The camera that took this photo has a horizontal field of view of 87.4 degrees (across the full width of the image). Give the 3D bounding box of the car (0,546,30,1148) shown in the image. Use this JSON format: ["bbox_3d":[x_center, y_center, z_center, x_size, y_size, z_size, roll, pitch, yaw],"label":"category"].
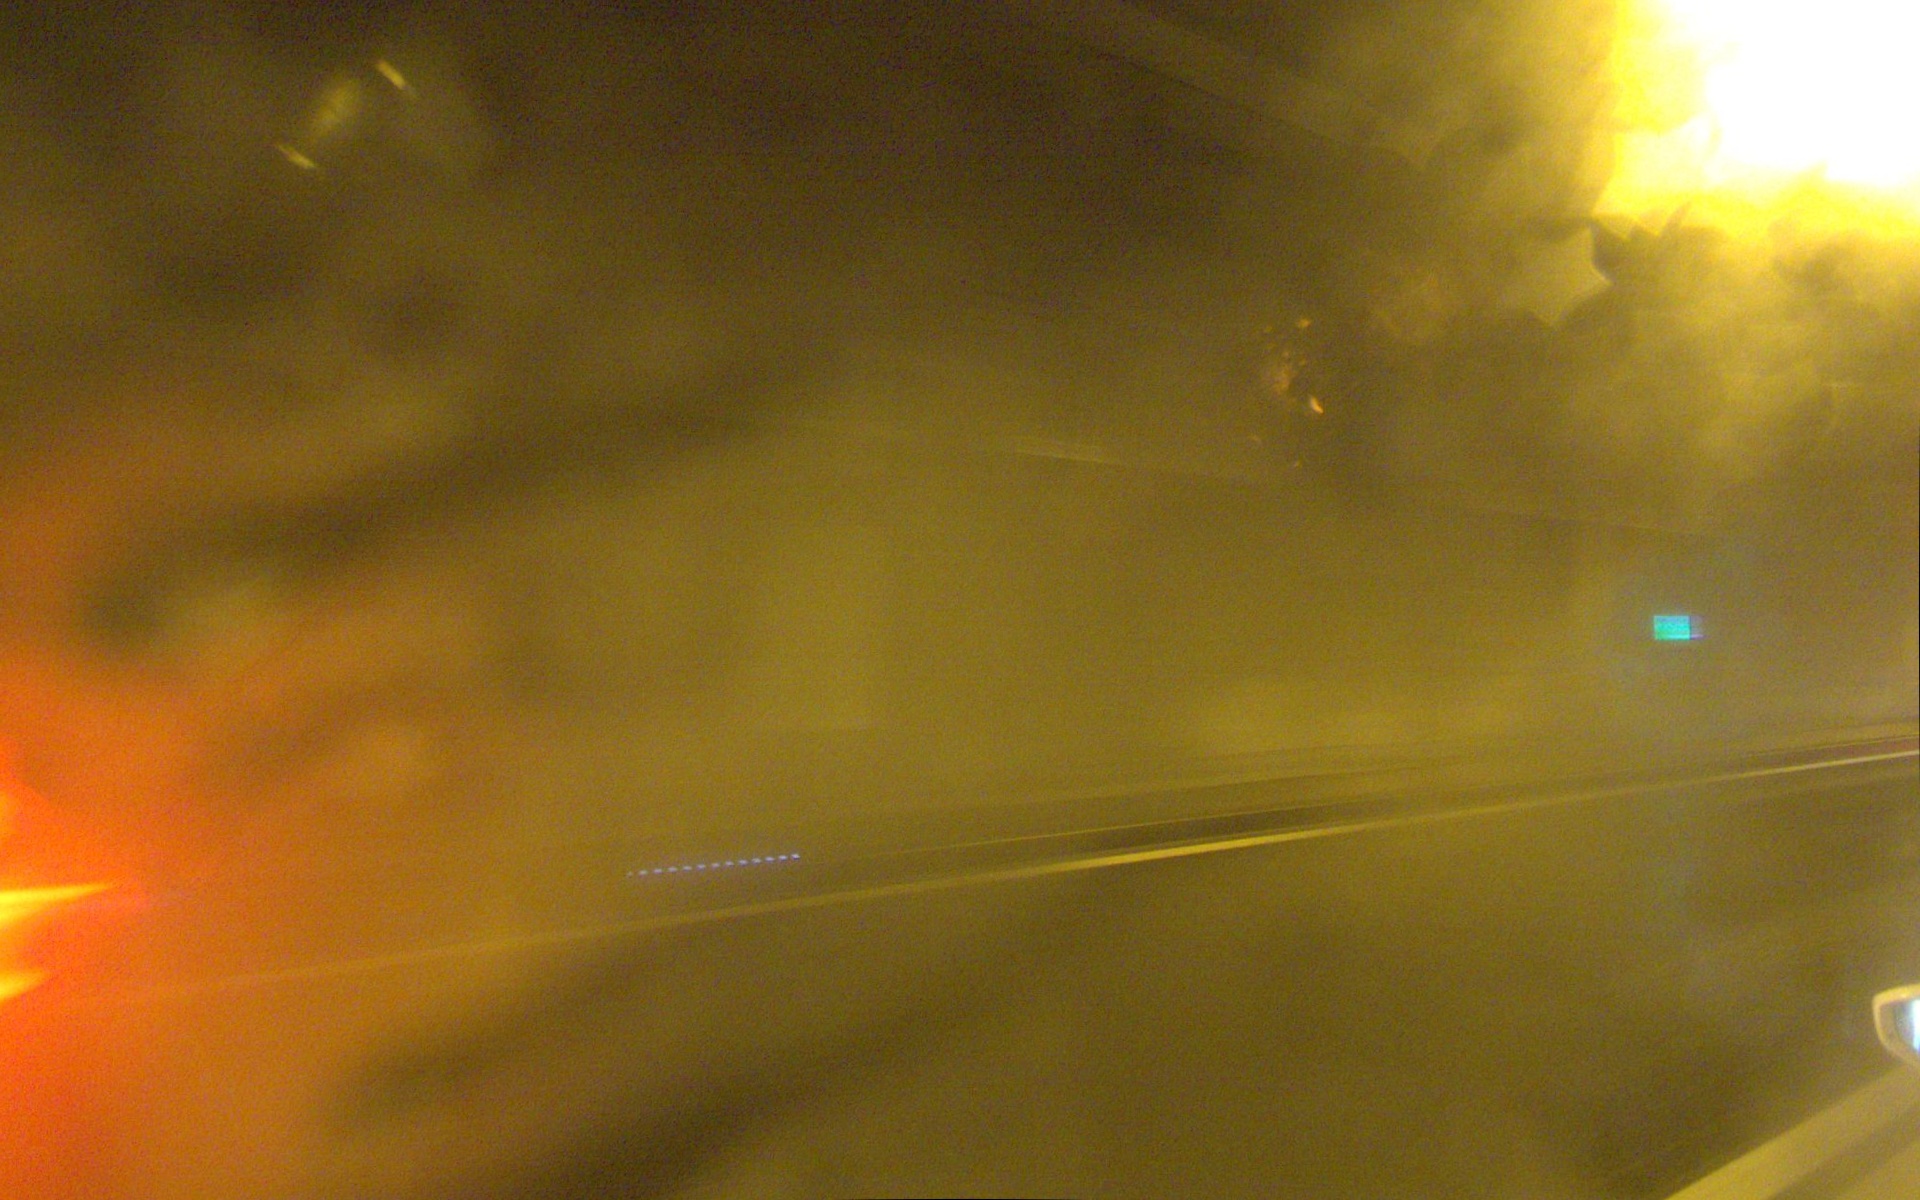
[{"bbox_3d":[-3.718,0.607,0.990,3.770,1.549,1.748,2,1,-30],"label":"car"}]
